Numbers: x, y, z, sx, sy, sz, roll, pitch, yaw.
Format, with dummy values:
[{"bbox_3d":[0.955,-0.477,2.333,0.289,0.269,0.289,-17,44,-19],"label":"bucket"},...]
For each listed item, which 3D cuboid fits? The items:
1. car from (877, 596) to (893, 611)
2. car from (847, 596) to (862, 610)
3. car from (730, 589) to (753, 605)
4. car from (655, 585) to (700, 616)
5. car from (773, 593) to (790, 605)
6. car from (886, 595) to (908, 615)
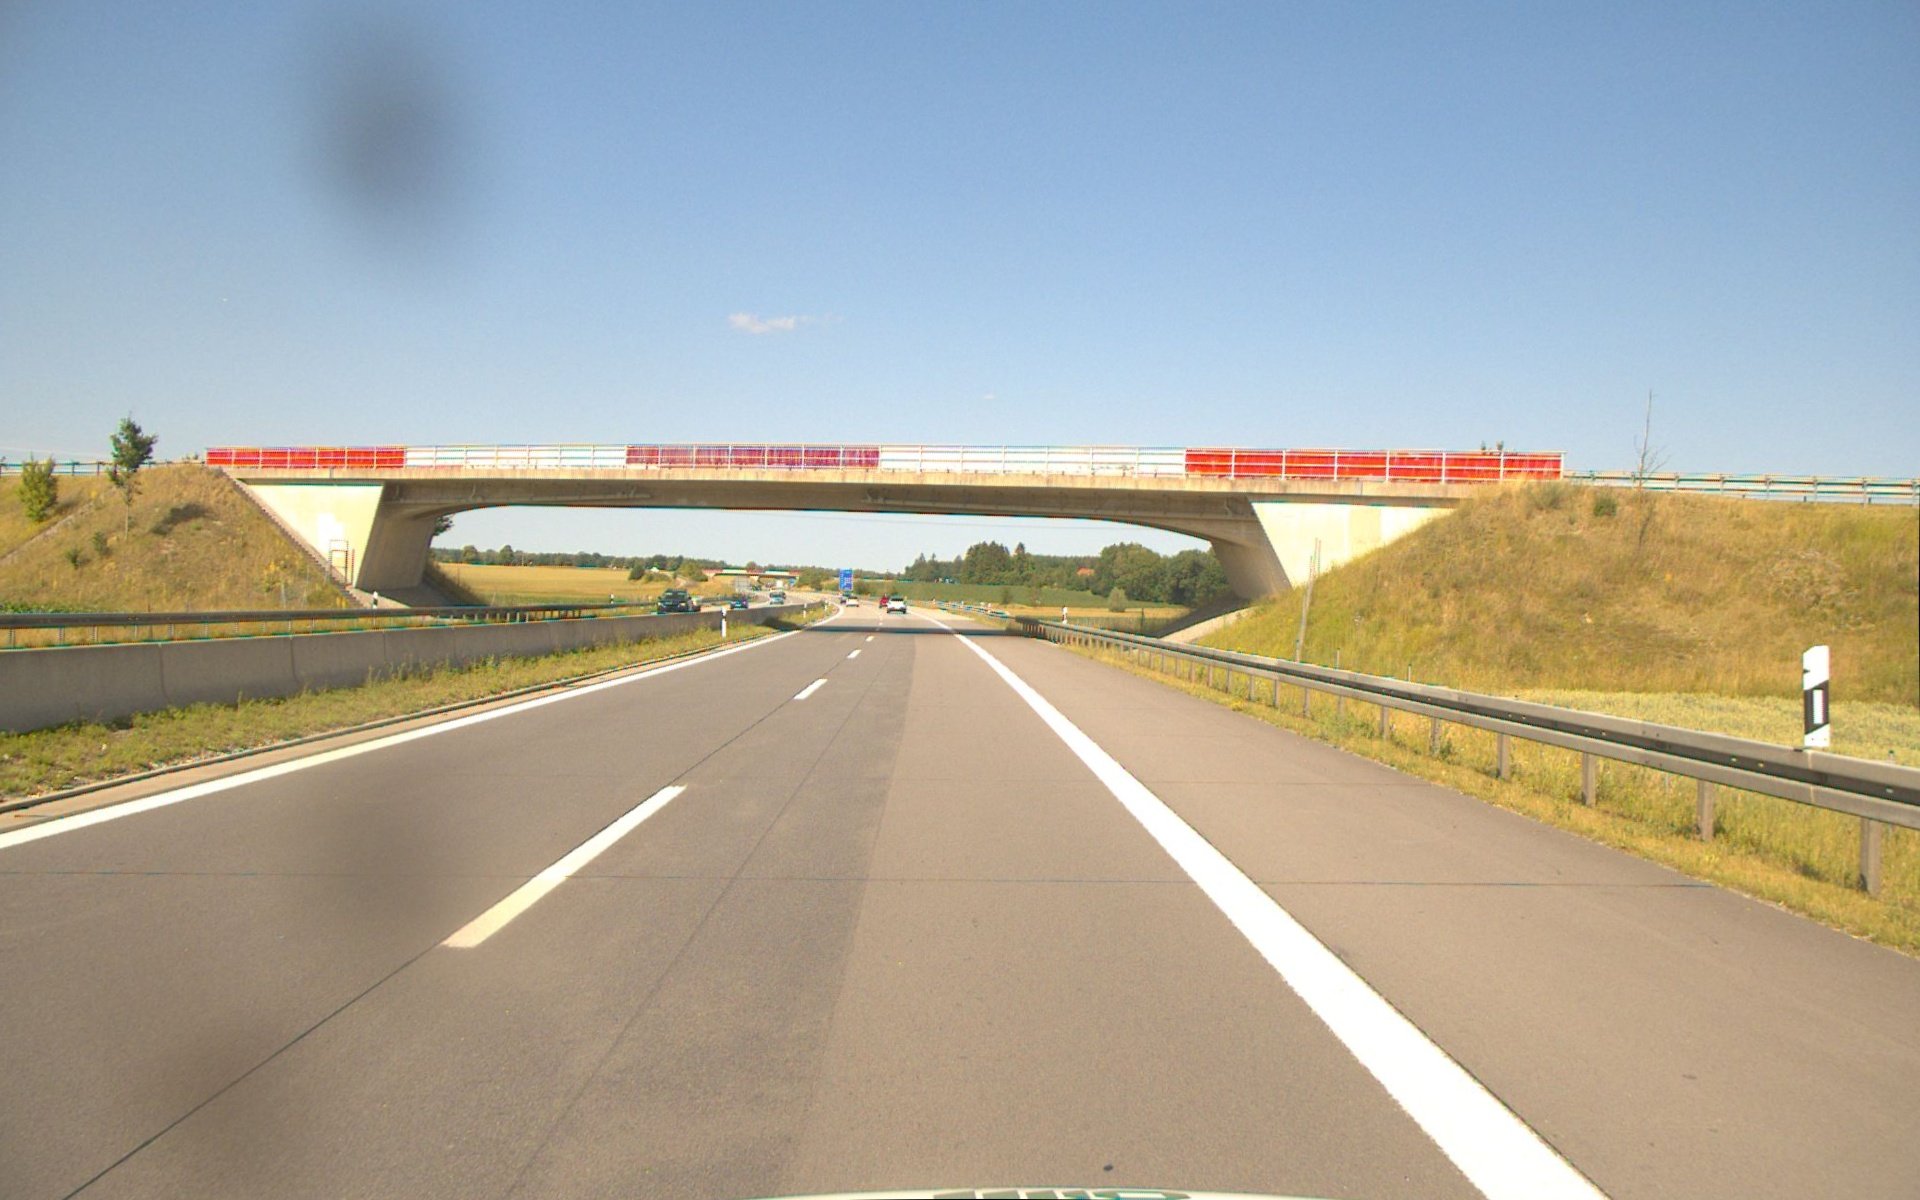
[{"bbox_3d":[-9.617,0.435,211.212,1.954,1.761,4.866,2,0,-3],"label":"car"},{"bbox_3d":[-14.222,0.406,223.273,1.954,1.761,4.866,2,0,-3],"label":"car"},{"bbox_3d":[-21.031,-0.298,159.402,1.818,1.486,4.193,1,0,-3],"label":"car"},{"bbox_3d":[-17.294,0.025,101.442,1.953,1.761,5.585,2,0,-2],"label":"car"},{"bbox_3d":[-24.631,-0.110,228.547,1.954,1.606,4.893,2,0,-3],"label":"car"},{"bbox_3d":[-6.075,0.468,159.830,1.953,1.761,4.867,2,0,-2],"label":"car"}]
